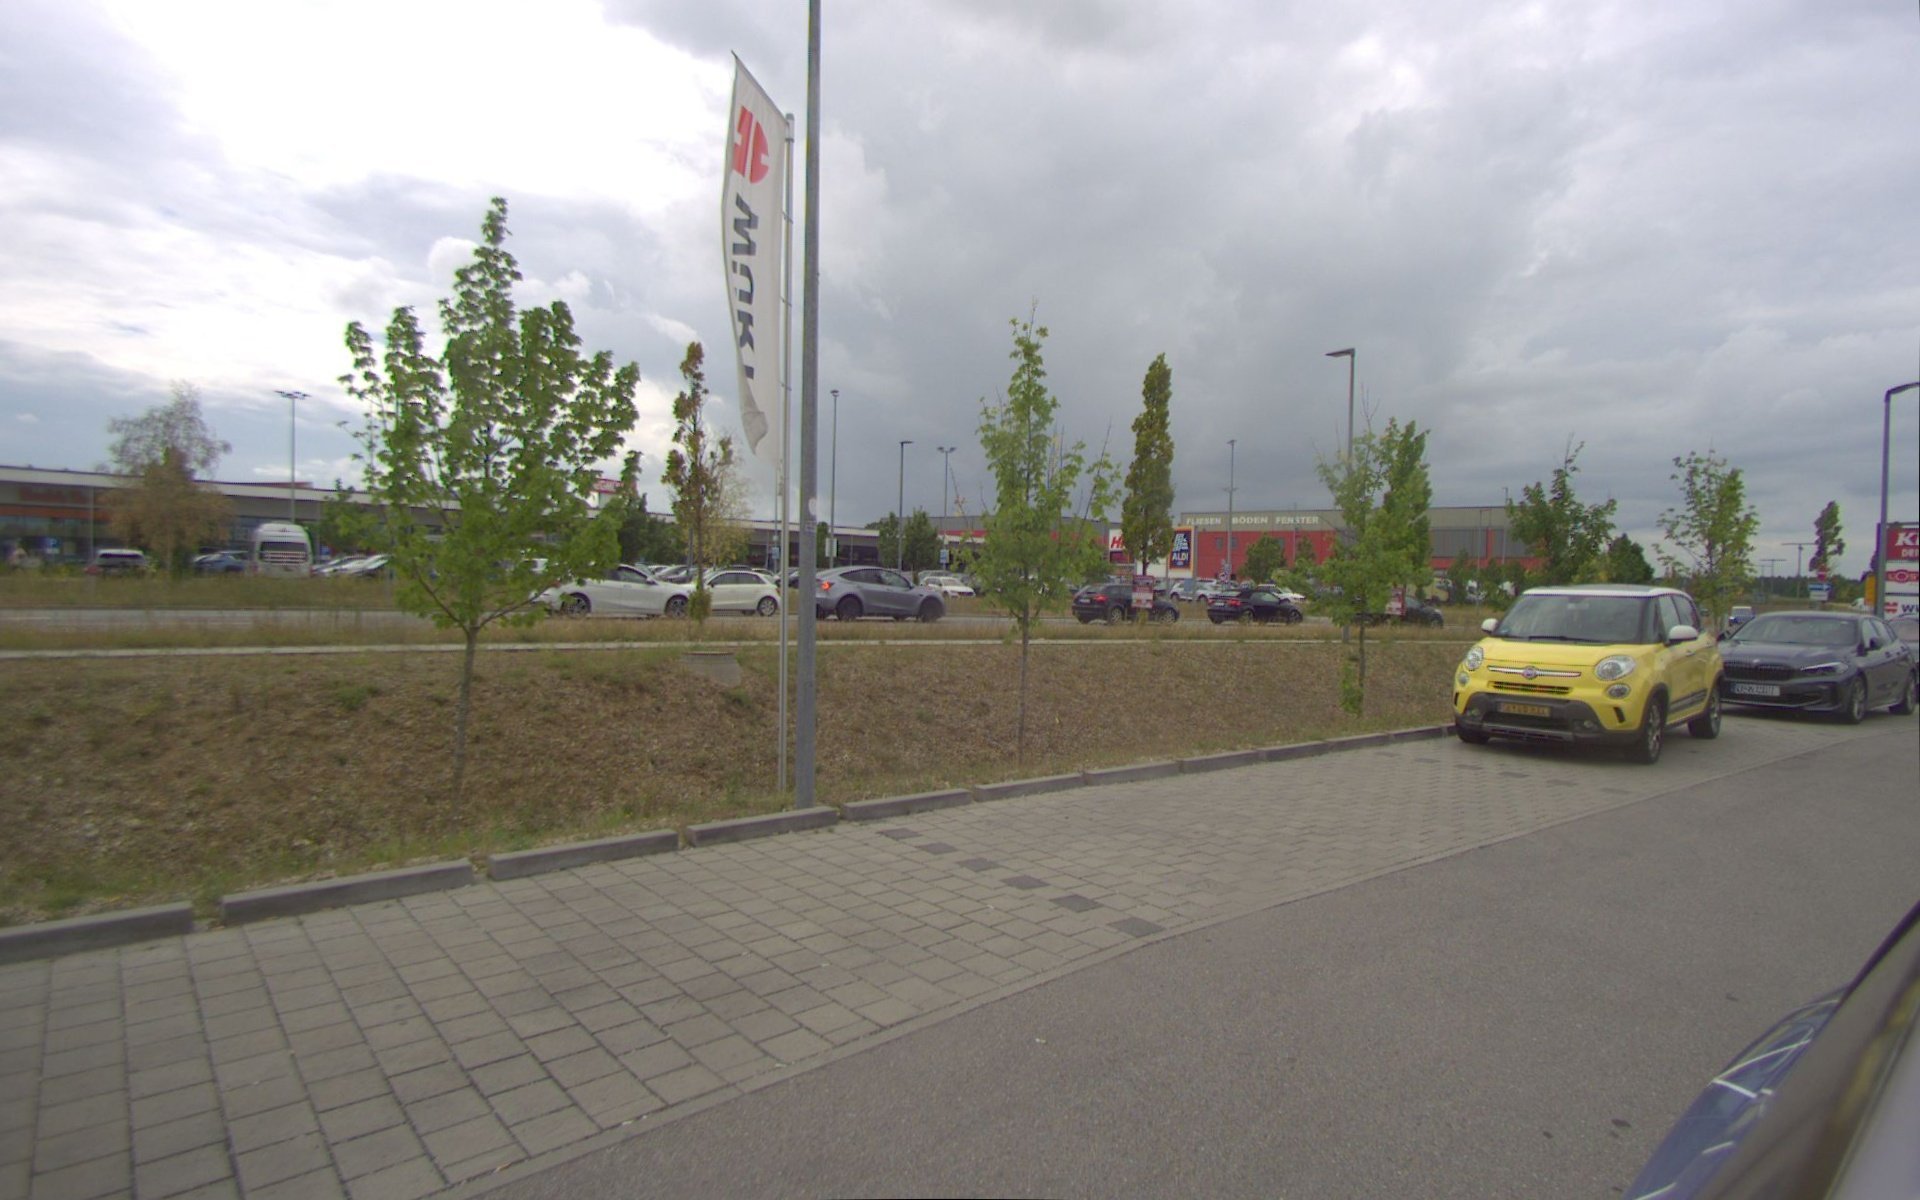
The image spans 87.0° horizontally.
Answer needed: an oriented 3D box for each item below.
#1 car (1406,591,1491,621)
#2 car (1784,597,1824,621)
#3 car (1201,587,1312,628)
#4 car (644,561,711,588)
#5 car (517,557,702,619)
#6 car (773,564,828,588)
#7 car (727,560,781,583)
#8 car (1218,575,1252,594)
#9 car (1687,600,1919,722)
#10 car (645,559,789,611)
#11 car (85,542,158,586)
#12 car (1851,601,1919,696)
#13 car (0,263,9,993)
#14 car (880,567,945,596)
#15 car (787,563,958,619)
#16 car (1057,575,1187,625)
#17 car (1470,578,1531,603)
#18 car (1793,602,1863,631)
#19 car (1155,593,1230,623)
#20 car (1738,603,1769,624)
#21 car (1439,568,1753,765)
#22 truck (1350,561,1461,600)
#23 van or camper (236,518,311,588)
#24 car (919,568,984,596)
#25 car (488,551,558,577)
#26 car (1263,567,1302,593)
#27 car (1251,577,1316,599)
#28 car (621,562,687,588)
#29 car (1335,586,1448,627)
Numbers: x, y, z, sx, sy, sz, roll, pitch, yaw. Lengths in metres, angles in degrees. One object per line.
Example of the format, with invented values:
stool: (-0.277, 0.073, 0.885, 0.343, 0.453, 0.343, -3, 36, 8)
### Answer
car: (24.557, 0.267, 50.822, 4.285, 1.413, 1.793, 0, 1, -31)
car: (67.438, 0.703, 80.832, 3.931, 1.836, 1.905, 1, 1, -42)
car: (11.349, 0.295, 38.738, 3.920, 1.415, 1.911, 1, 1, -31)
car: (-19.055, -1.692, 68.374, 1.868, 1.660, 3.943, 3, 1, 39)
car: (-8.970, -0.309, 26.048, 4.171, 1.468, 1.800, 0, 2, -38)
car: (-12.156, -1.836, 77.403, 1.868, 1.660, 3.943, 3, 1, 39)
car: (-16.375, -2.249, 80.693, 1.868, 1.660, 3.943, 3, 1, 39)
car: (25.790, -1.471, 94.860, 1.753, 1.674, 3.786, 2, 2, 36)
car: (12.058, 0.757, 14.235, 4.225, 1.433, 1.753, 1, 1, -36)
car: (-7.501, -0.452, 31.406, 3.980, 1.499, 1.758, 1, 1, -37)
car: (-30.911, -1.304, 37.250, 1.960, 1.469, 4.143, 1, 1, -41)
car: (17.402, 0.821, 17.594, 4.543, 1.509, 1.754, 1, 1, -34)
car: (-5.555, 0.144, 0.133, 7.713, 2.351, 2.200, 0, 2, -38)
car: (-2.698, -1.080, 56.772, 1.744, 1.494, 4.001, 1, 1, -35)
car: (-2.550, -0.242, 30.107, 4.793, 1.527, 1.810, 1, 2, -37)
car: (5.603, 0.012, 34.863, 4.253, 1.588, 1.910, 1, 1, -35)
car: (47.056, -0.833, 88.152, 4.418, 2.149, 1.971, 2, 1, 40)
car: (50.676, 0.972, 59.040, 4.285, 1.534, 2.001, 1, 1, -34)
car: (13.153, 0.426, 57.468, 1.959, 1.549, 4.006, 1, 1, -28)
car: (69.104, 1.130, 88.152, 1.989, 1.697, 3.946, 3, 1, 37)
car: (6.923, 0.567, 10.824, 4.224, 1.704, 1.750, 1, 1, -42)
truck: (35.825, -1.568, 81.377, 8.012, 2.982, 2.685, 1, 1, -12)
van or camper: (-26.741, -1.827, 39.374, 2.247, 2.523, 4.000, 1, 2, -36)
car: (-0.541, -1.048, 57.805, 1.744, 1.494, 4.001, 1, 1, -35)
car: (-29.674, -2.441, 68.722, 1.868, 1.660, 3.943, 3, 1, 39)
car: (29.148, -1.813, 91.430, 2.014, 2.232, 4.292, 2, 2, 36)
car: (22.922, -0.843, 71.800, 1.963, 1.460, 3.999, 1, 1, -36)
car: (-21.161, -1.748, 70.081, 1.868, 1.660, 3.943, 3, 1, 39)
car: (15.758, 0.254, 36.914, 3.920, 1.371, 1.762, 1, 1, -30)
